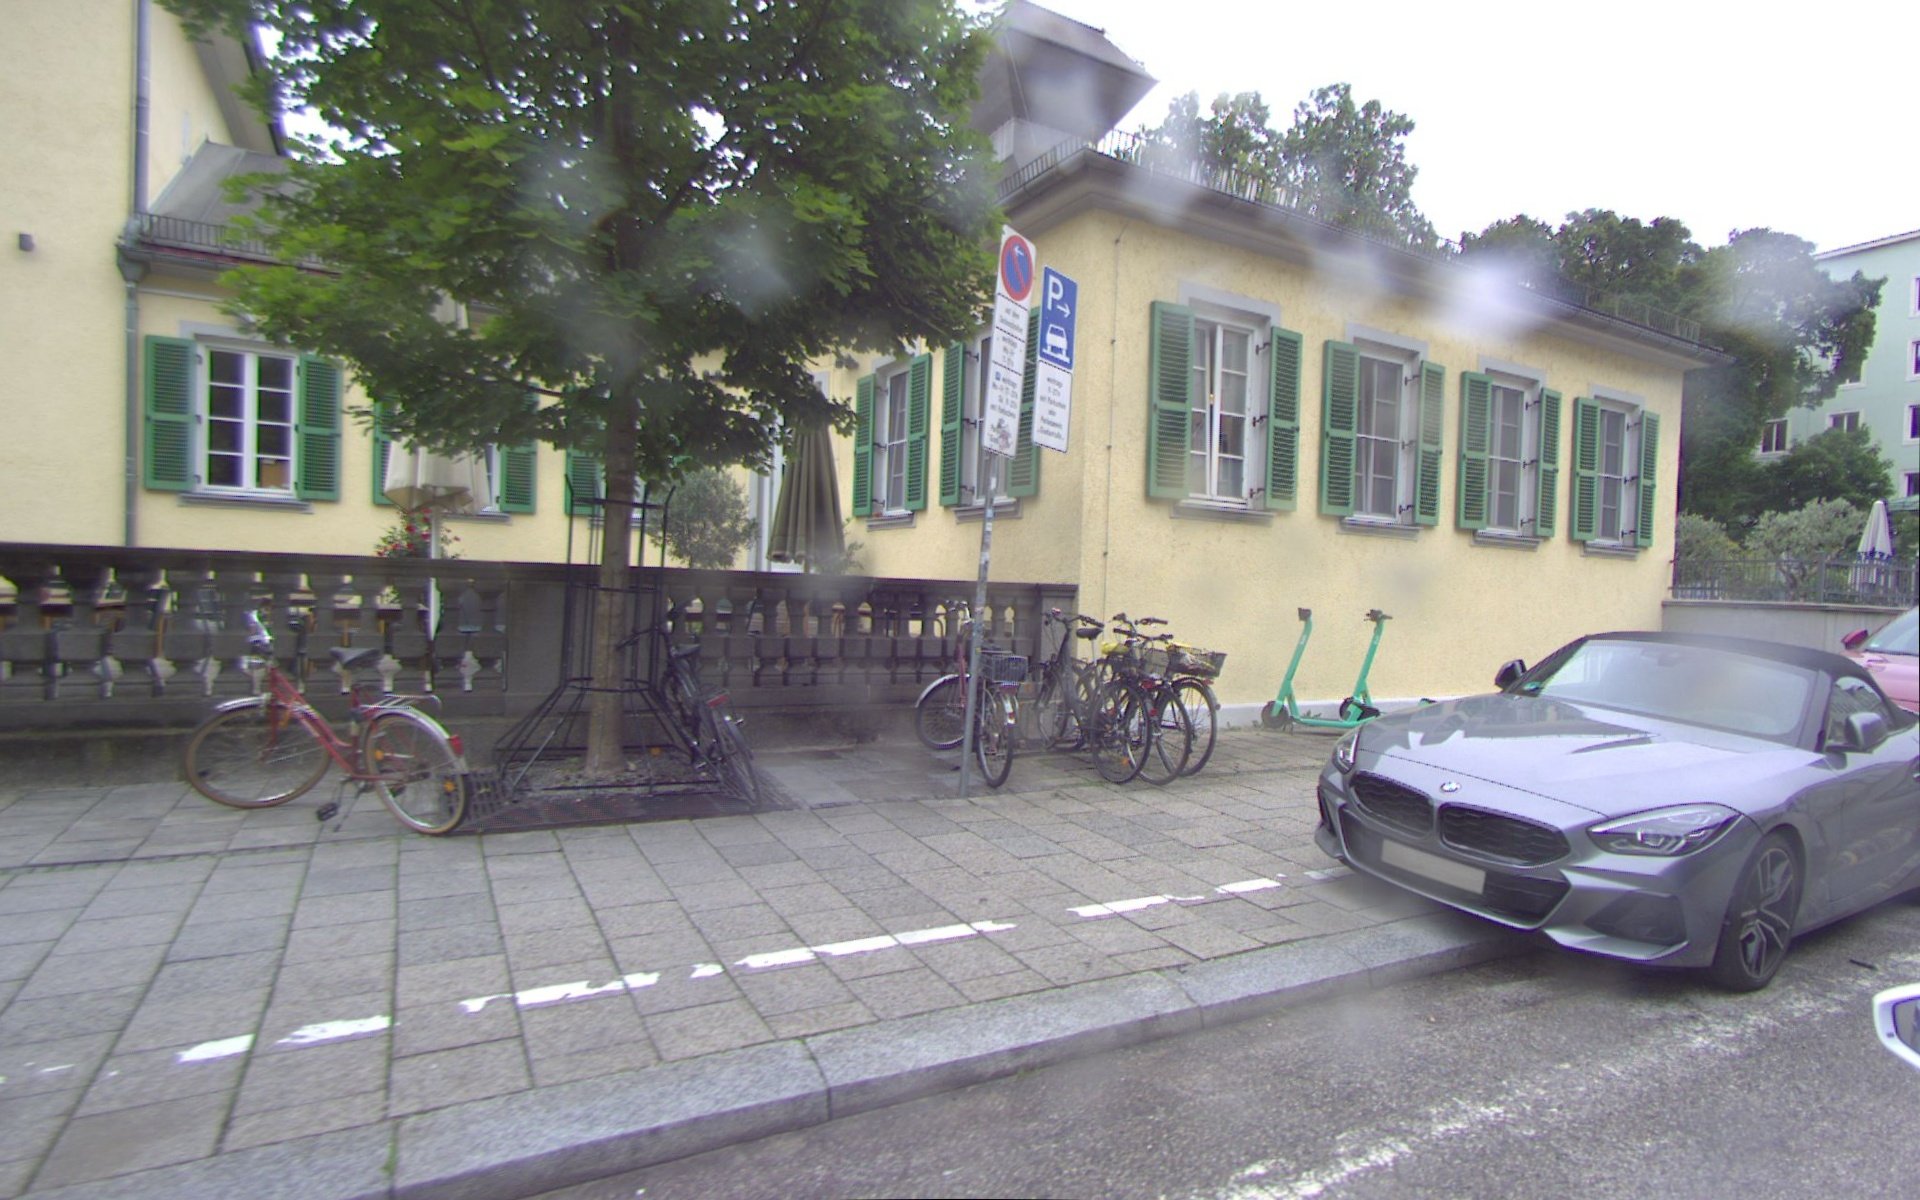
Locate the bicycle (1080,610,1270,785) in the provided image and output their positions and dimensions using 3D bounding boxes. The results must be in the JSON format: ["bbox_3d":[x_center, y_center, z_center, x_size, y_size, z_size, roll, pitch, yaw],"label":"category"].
[{"bbox_3d":[1.629,0.700,7.852,0.633,1.164,1.485,1,2,-26],"label":"bicycle"}]

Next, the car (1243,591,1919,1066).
[{"bbox_3d":[3.898,0.833,5.429,4.602,1.539,1.886,2,2,-31],"label":"car"}]

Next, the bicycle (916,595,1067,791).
[{"bbox_3d":[0.171,0.588,7.171,0.459,1.189,1.626,2,2,-20],"label":"bicycle"}]

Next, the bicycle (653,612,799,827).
[{"bbox_3d":[-1.505,0.651,6.247,0.635,1.042,1.720,1,2,-21],"label":"bicycle"}]

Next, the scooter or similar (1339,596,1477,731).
[{"bbox_3d":[4.624,0.651,10.388,1.229,1.332,0.364,2,1,-4],"label":"scooter or similar"}]

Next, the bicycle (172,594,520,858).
[{"bbox_3d":[-3.047,0.547,4.980,1.602,1.103,0.637,2,1,22],"label":"bicycle"}]

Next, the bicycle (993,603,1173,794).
[{"bbox_3d":[0.845,0.649,7.384,0.348,1.187,1.693,1,1,-29],"label":"bicycle"}]

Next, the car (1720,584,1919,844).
[{"bbox_3d":[8.514,0.849,8.096,4.747,1.714,1.894,2,2,-28],"label":"car"}]

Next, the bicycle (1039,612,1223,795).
[{"bbox_3d":[1.217,0.701,7.475,0.383,1.152,1.621,1,1,-29],"label":"bicycle"}]

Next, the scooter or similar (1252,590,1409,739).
[{"bbox_3d":[3.561,0.608,9.688,1.326,1.361,0.376,2,1,-2],"label":"scooter or similar"}]
